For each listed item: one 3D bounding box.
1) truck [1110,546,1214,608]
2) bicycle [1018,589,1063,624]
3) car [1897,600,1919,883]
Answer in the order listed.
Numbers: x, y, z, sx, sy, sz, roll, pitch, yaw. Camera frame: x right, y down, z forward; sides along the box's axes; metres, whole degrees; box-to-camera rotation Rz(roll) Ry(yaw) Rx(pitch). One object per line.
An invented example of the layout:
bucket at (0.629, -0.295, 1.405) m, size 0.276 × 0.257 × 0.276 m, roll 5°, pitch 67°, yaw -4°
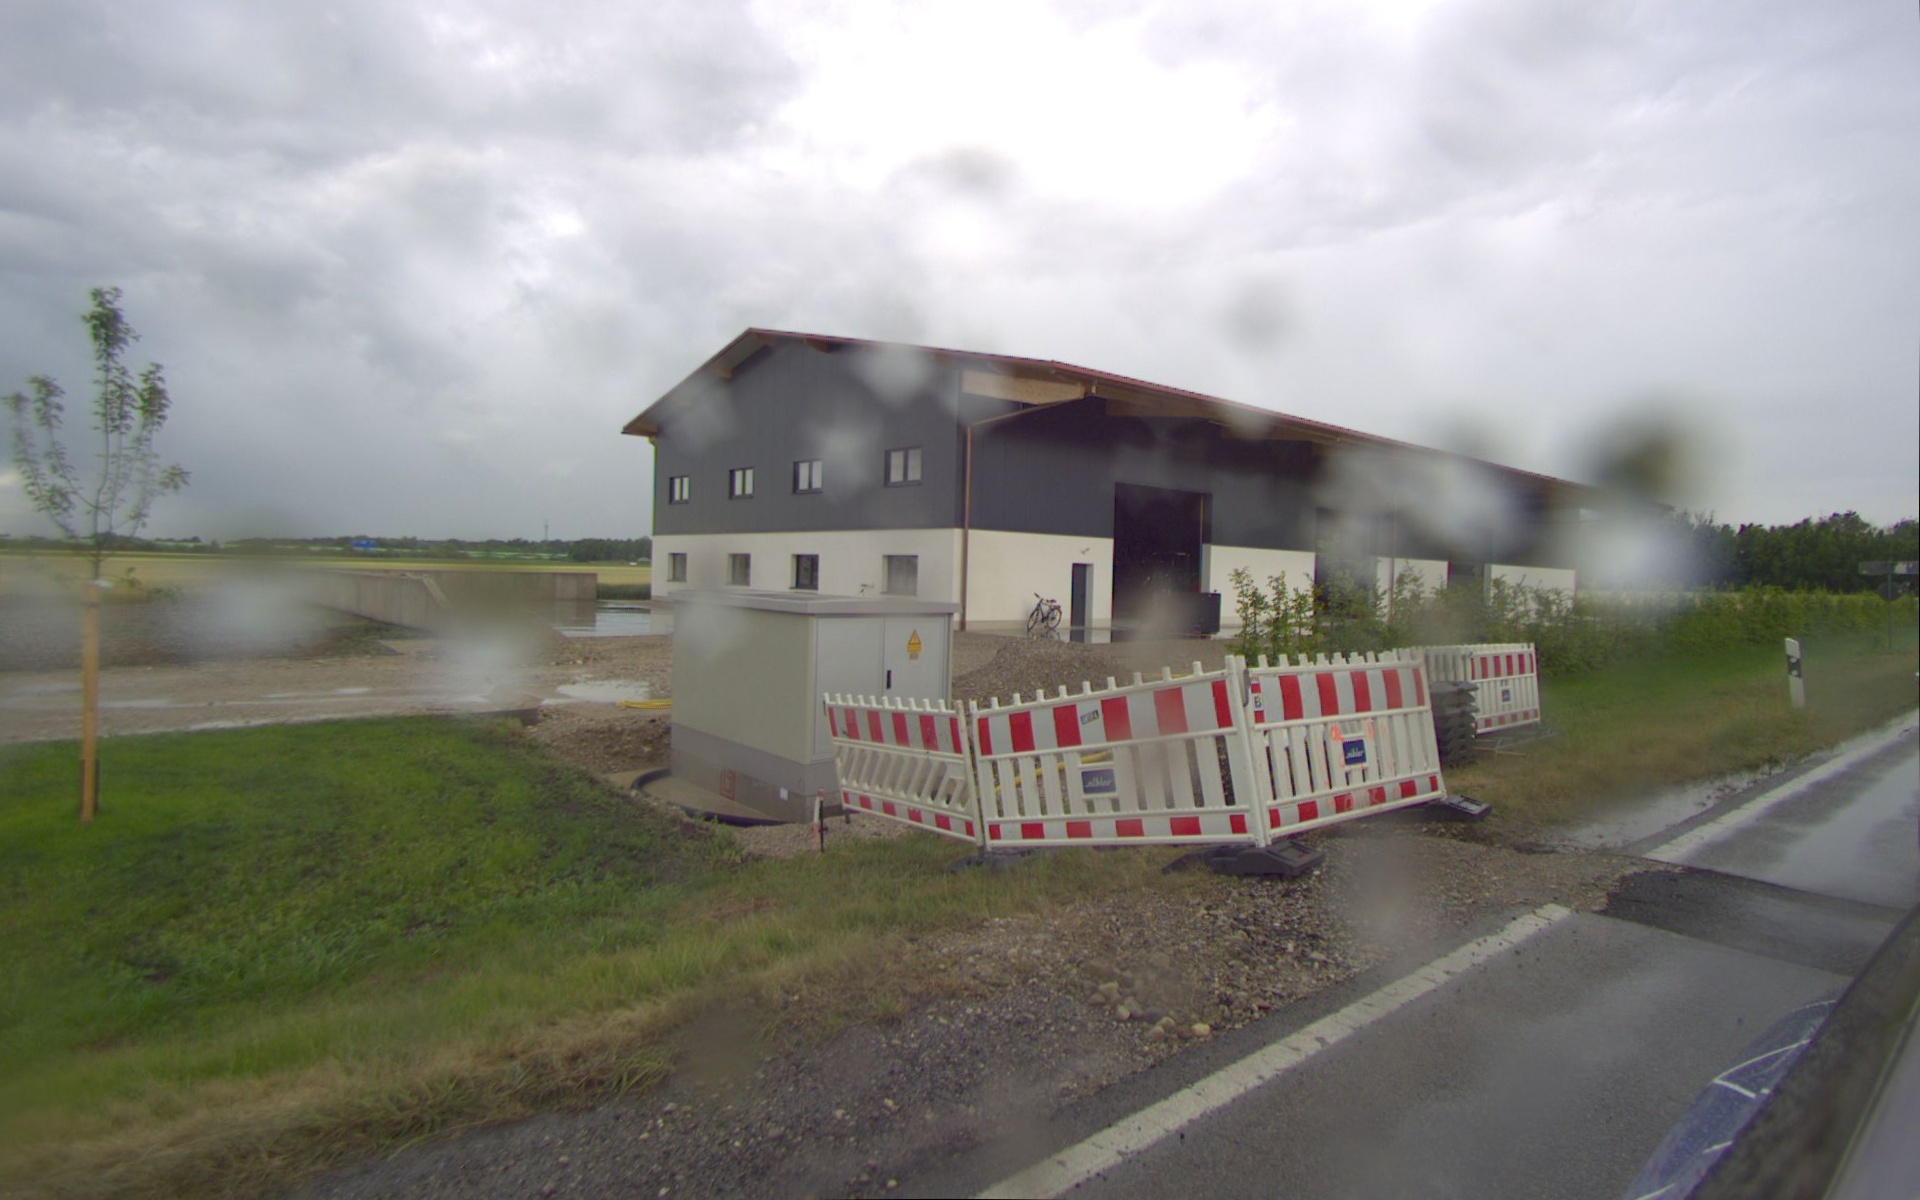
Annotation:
truck at (10.466, -1.199, 52.198) m, size 5.250 × 3.050 × 2.495 m, roll 0°, pitch 2°, yaw -41°
bicycle at (2.606, 0.195, 32.483) m, size 1.631 × 1.085 × 0.391 m, roll 0°, pitch 2°, yaw -41°
car at (7.033, 0.688, 5.883) m, size 4.489 × 1.404 × 1.841 m, roll -1°, pitch 1°, yaw -41°
